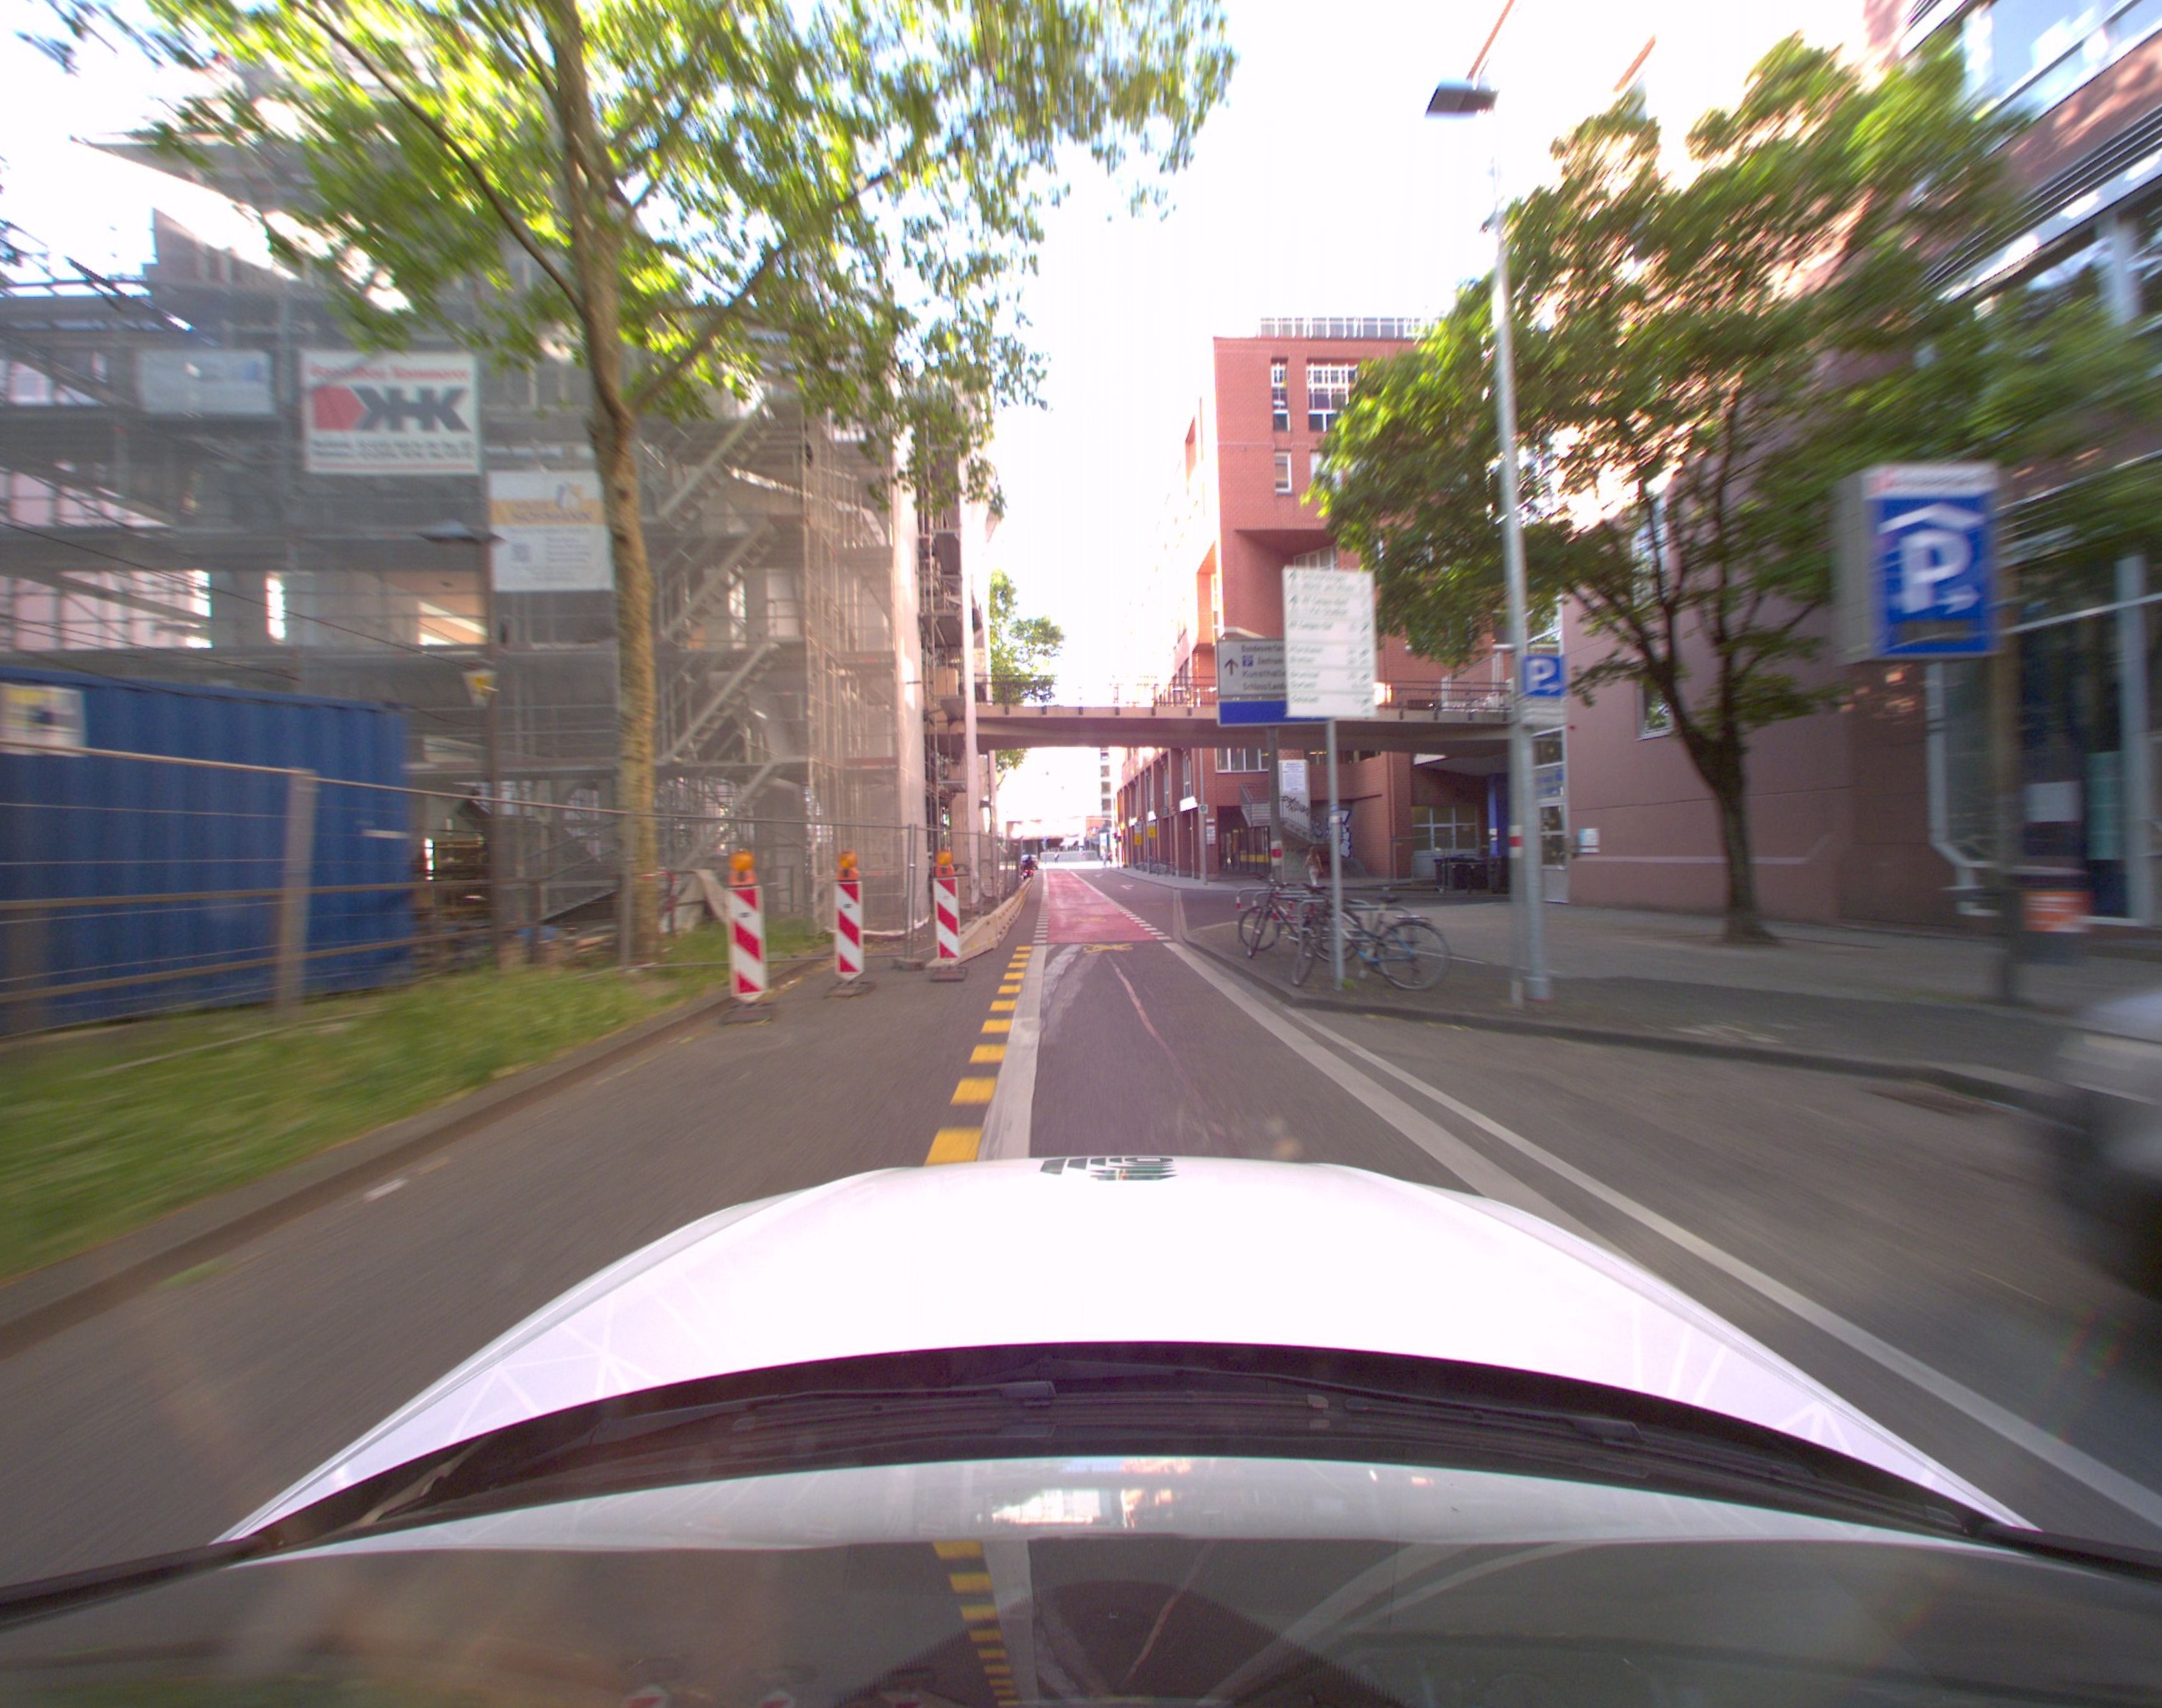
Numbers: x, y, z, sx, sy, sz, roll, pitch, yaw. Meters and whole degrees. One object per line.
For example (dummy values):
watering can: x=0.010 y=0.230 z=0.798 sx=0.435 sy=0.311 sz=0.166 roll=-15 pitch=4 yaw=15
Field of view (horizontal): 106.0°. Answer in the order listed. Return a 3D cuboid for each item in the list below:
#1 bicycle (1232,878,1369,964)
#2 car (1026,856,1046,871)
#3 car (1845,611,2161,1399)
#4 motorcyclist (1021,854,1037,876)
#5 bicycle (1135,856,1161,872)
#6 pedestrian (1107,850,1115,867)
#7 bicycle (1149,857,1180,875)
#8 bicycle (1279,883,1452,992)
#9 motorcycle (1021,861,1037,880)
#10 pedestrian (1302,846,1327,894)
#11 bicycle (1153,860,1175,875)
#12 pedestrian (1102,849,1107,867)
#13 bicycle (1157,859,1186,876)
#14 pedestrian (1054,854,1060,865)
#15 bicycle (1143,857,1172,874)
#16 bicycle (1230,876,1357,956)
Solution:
bicycle: x=2.915 y=0.861 z=10.883 sx=1.661 sy=1.067 sz=0.504 roll=-1 pitch=0 yaw=31
car: x=-4.599 y=0.952 z=81.990 sx=1.920 sy=1.388 sz=3.994 roll=-2 pitch=0 yaw=-4
car: x=3.893 y=0.378 z=0.434 sx=1.914 sy=2.078 sz=5.164 roll=-2 pitch=0 yaw=-3
motorcyclist: x=-3.192 y=0.674 z=49.910 sx=0.968 sy=1.347 sz=1.136 roll=-1 pitch=0 yaw=-4
bicycle: x=5.019 y=0.768 z=60.818 sx=1.887 sy=1.119 sz=0.474 roll=-2 pitch=0 yaw=-3
pedestrian: x=3.034 y=0.446 z=82.197 sx=0.632 sy=1.725 sz=0.629 roll=-2 pitch=0 yaw=-3
bicycle: x=5.538 y=0.818 z=53.925 sx=1.926 sy=1.057 sz=0.572 roll=-4 pitch=0 yaw=0
bicycle: x=2.995 y=0.855 z=8.647 sx=1.663 sy=1.067 sz=0.514 roll=-1 pitch=0 yaw=20
motorcycle: x=-3.204 y=1.001 z=50.115 sx=0.971 sy=1.132 sz=2.801 roll=-1 pitch=0 yaw=-3
pedestrian: x=8.122 y=0.561 z=28.348 sx=0.568 sy=1.633 sz=0.777 roll=-1 pitch=0 yaw=-4
bicycle: x=5.367 y=0.864 z=52.604 sx=1.330 sy=0.841 sz=0.424 roll=-4 pitch=0 yaw=-2
pedestrian: x=2.359 y=0.414 z=82.171 sx=0.475 sy=1.792 sz=0.540 roll=-2 pitch=0 yaw=-3
bicycle: x=5.544 y=0.820 z=49.986 sx=1.607 sy=0.955 sz=0.554 roll=-4 pitch=0 yaw=-2
pedestrian: x=-3.450 y=0.758 z=116.974 sx=0.550 sy=1.583 sz=0.544 roll=-2 pitch=0 yaw=44
bicycle: x=5.309 y=0.788 z=56.707 sx=1.887 sy=1.119 sz=0.549 roll=-2 pitch=0 yaw=-3
bicycle: x=3.028 y=0.857 z=11.675 sx=1.661 sy=1.067 sz=0.504 roll=-1 pitch=0 yaw=31
